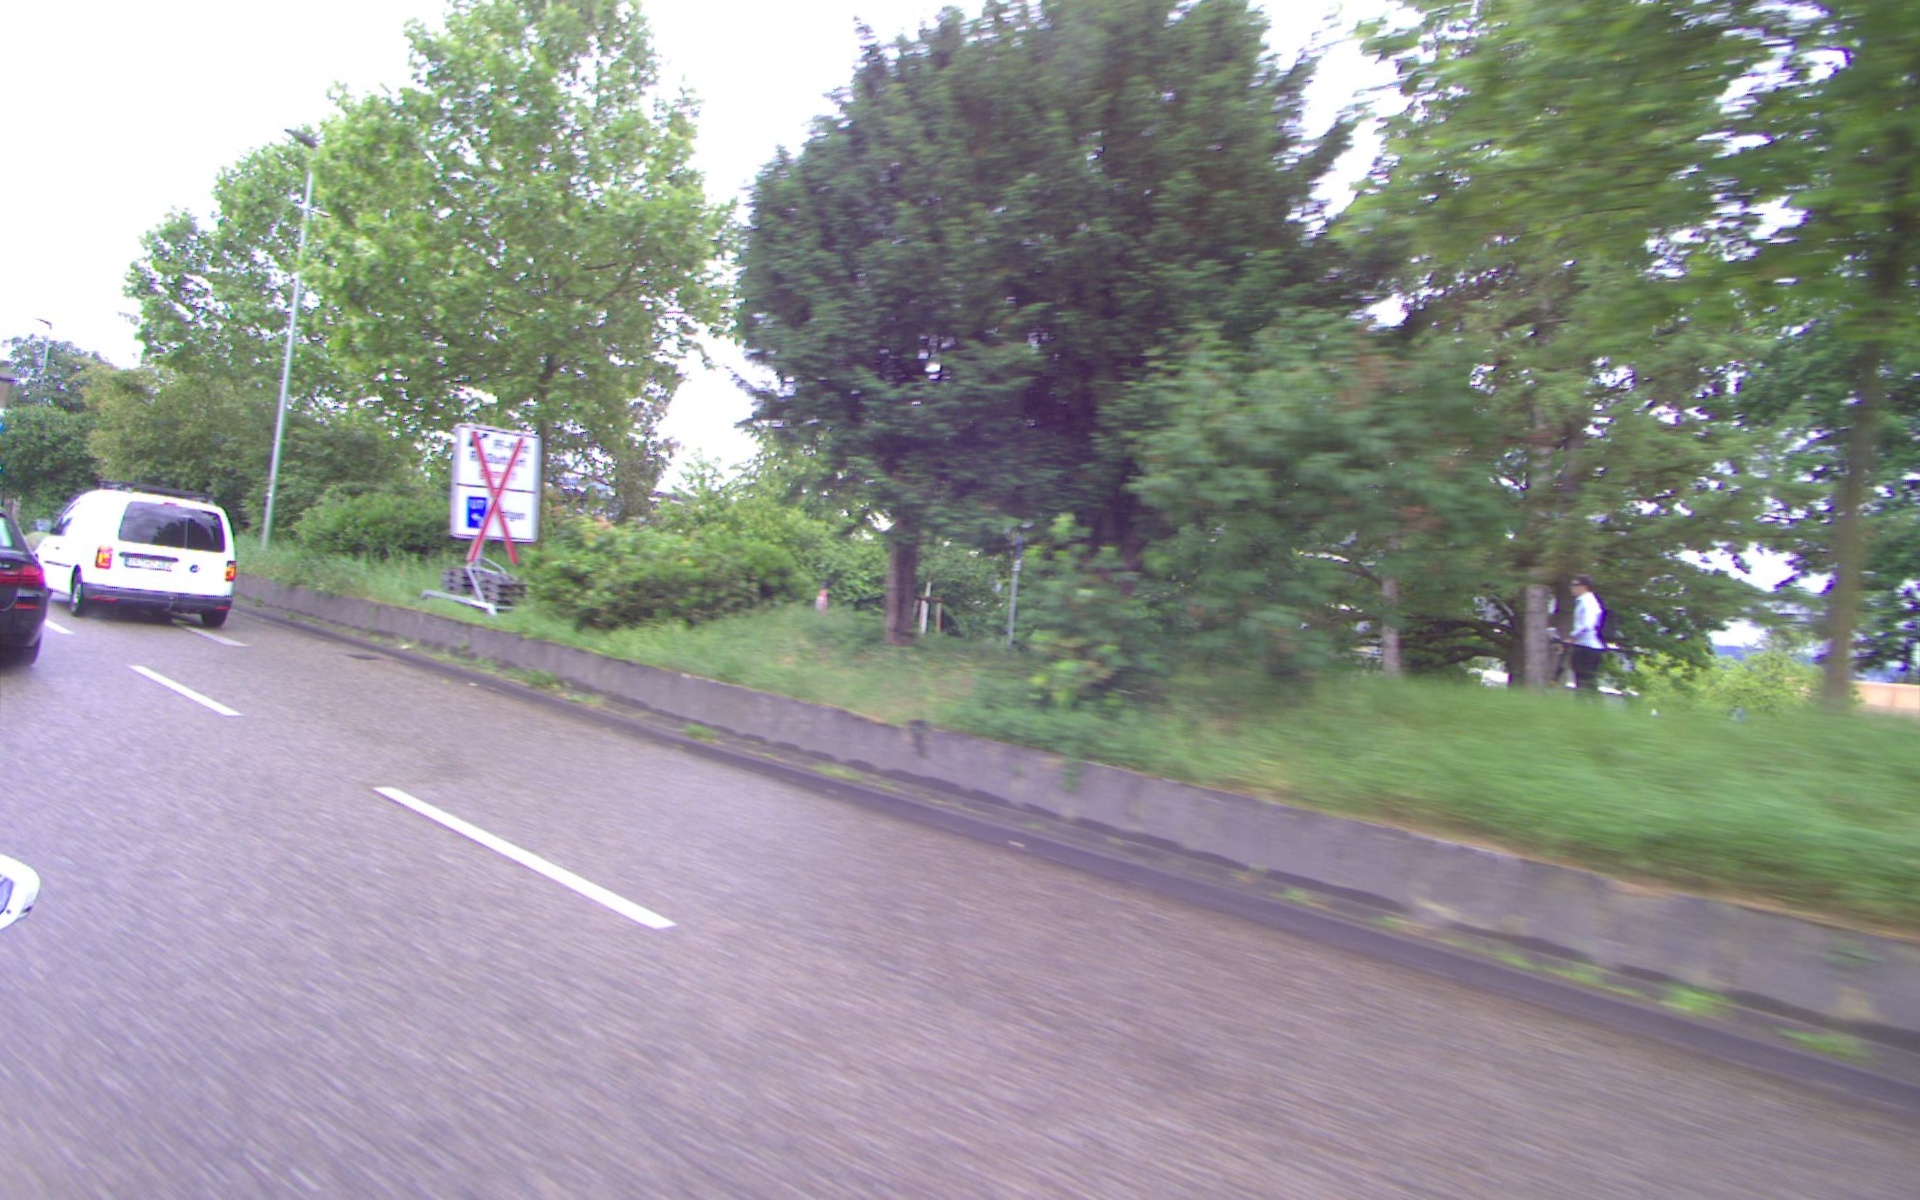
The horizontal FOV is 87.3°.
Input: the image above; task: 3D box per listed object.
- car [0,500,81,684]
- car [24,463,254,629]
[{"bbox_3d":[-9.585,-0.295,8.964,3.942,1.458,1.899,6,-3,39],"label":"car"},{"bbox_3d":[-12.347,-0.843,15.062,3.747,1.900,1.764,9,1,38],"label":"car"}]
